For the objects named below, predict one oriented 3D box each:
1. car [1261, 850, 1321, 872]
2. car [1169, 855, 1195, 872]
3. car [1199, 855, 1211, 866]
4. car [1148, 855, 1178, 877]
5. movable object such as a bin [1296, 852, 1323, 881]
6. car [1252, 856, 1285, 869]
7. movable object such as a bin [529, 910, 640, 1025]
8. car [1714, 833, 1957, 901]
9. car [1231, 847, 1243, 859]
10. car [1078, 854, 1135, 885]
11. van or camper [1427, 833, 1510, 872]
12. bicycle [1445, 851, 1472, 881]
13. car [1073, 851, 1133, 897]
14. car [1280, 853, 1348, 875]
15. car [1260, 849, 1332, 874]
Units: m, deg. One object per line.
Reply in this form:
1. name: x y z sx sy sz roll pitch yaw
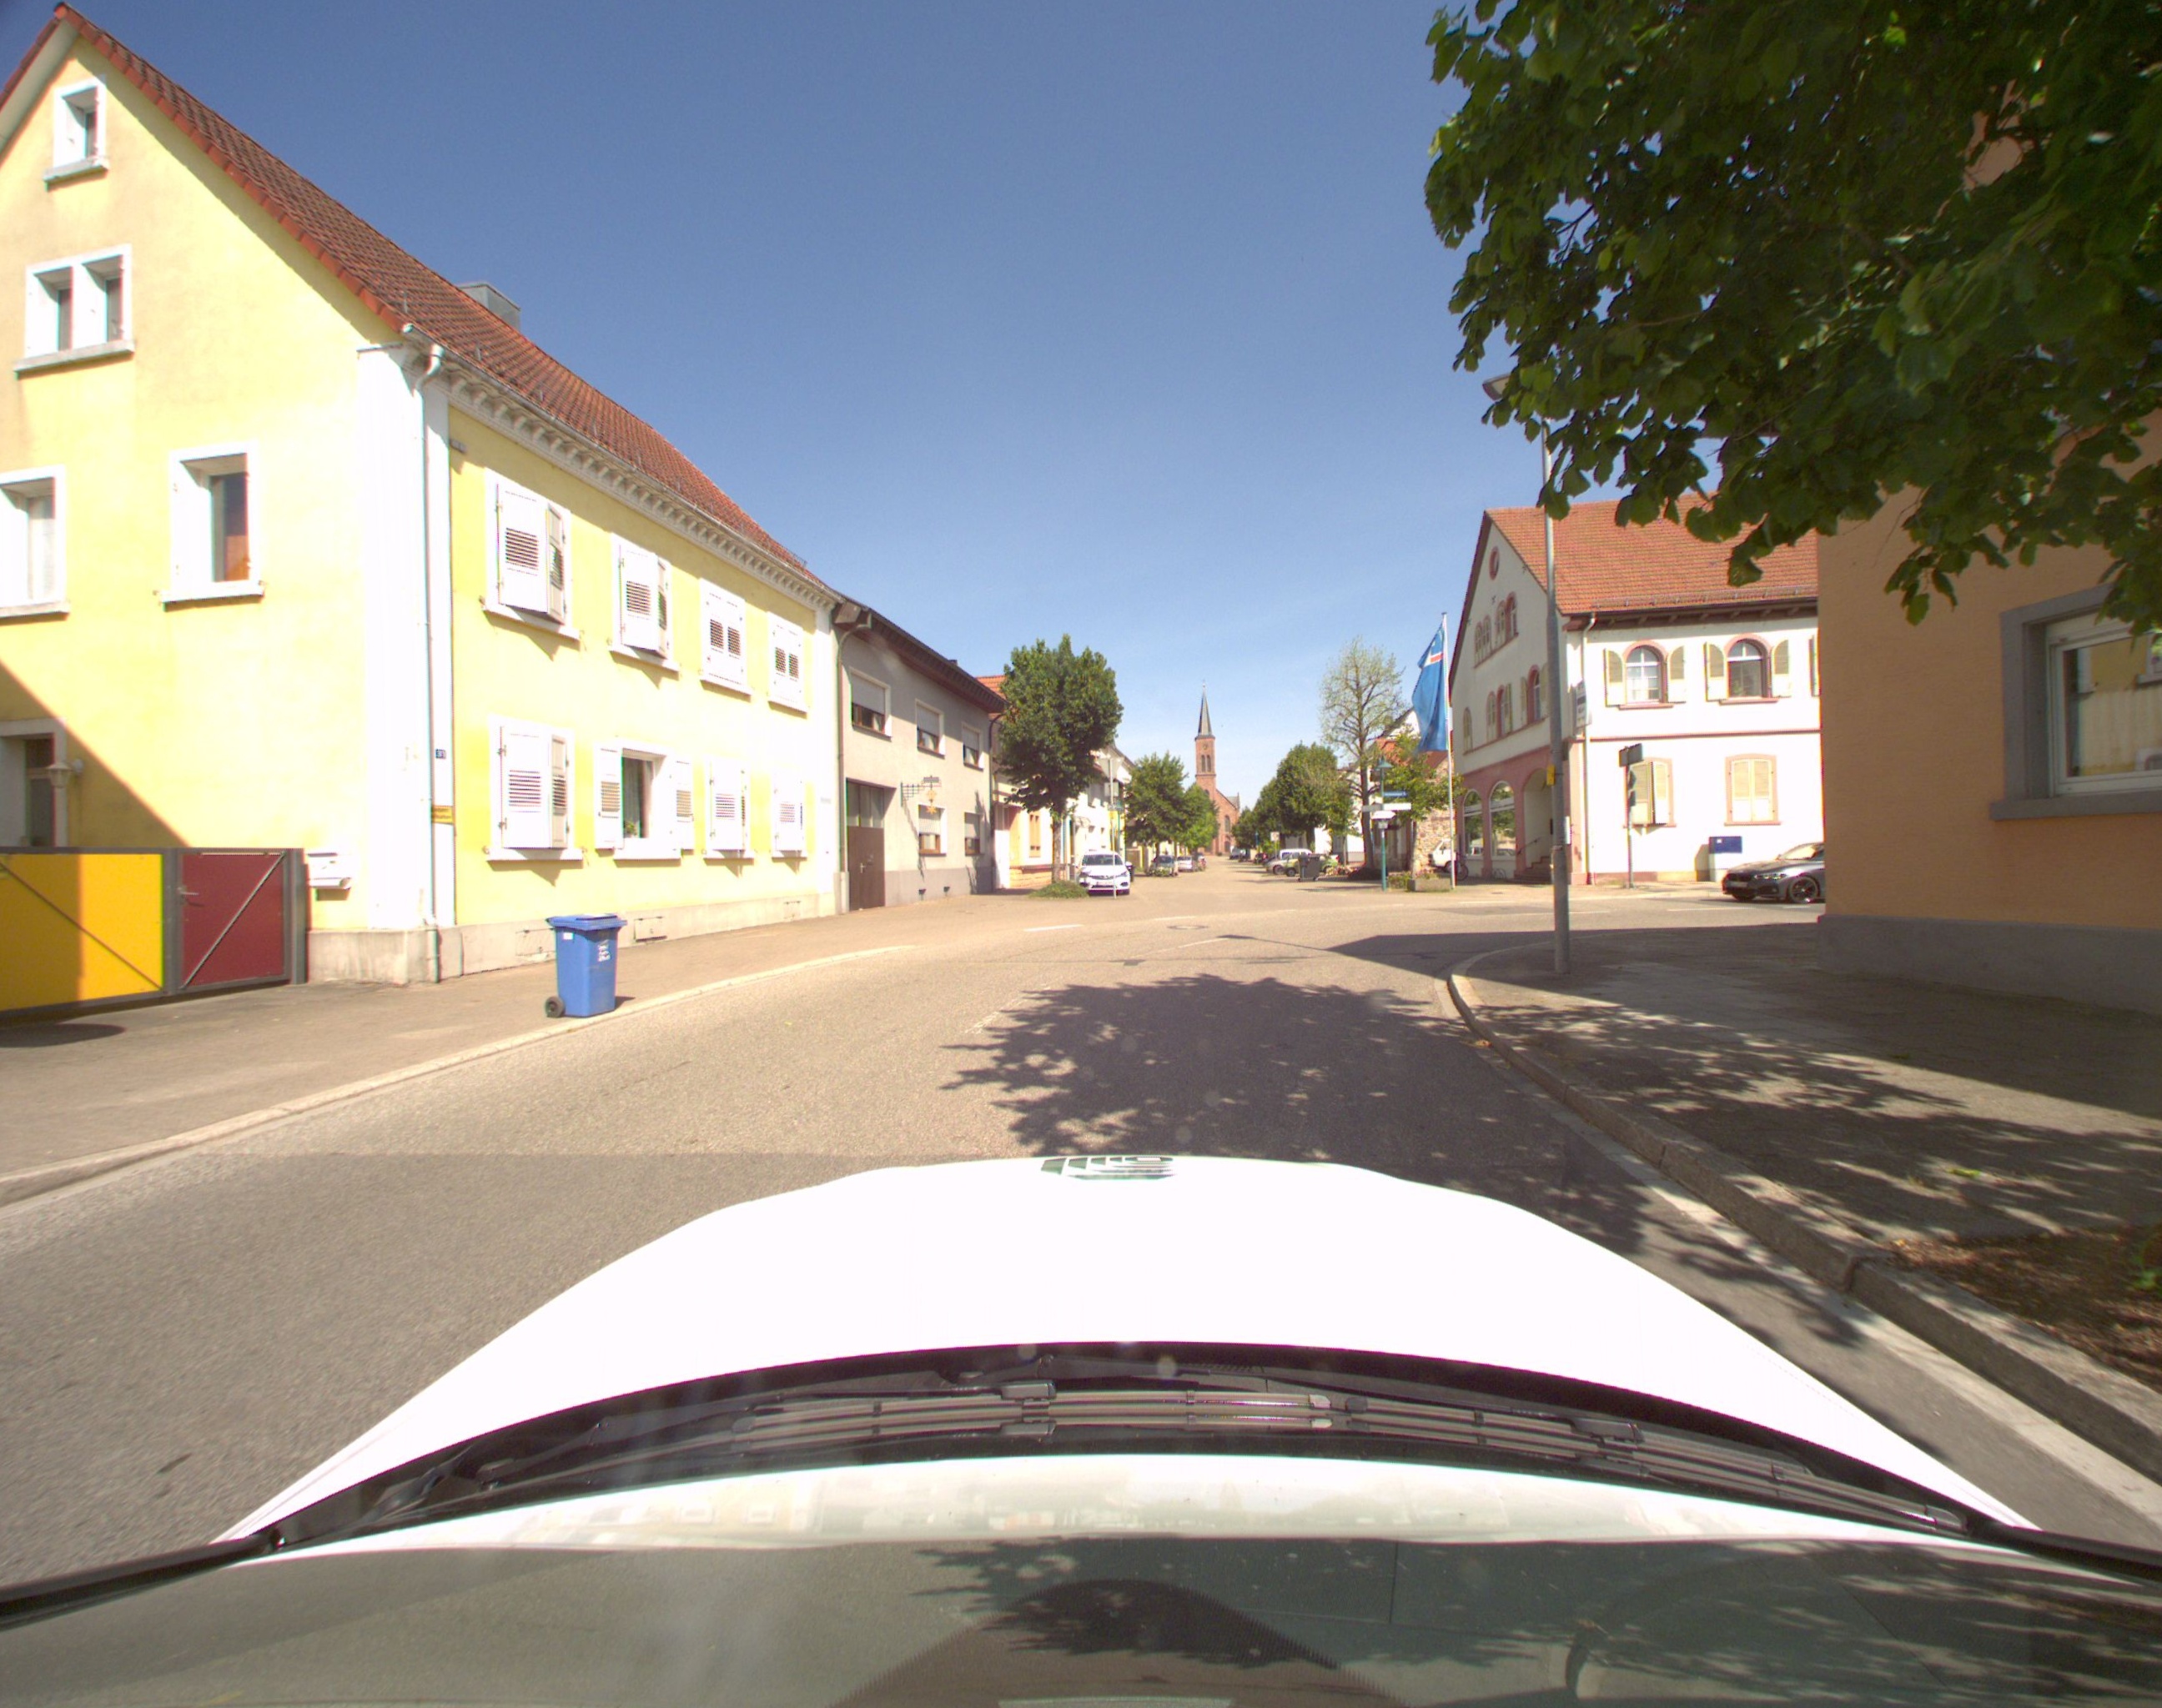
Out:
1. car: 15.574 0.495 60.511 4.125 1.568 2.005 -1 0 9
2. car: 8.841 0.806 71.416 1.985 1.464 4.004 -1 0 3
3. car: 21.519 1.150 141.367 1.983 1.816 4.007 -2 0 6
4. car: 6.129 0.864 60.799 1.982 1.574 4.010 -2 0 9
5. movable object such as a bin: 10.886 0.614 38.796 1.179 1.338 0.792 -2 0 13
6. car: 24.503 1.090 106.409 3.964 1.618 2.005 -2 0 8
7. movable object such as a bin: -4.638 1.046 7.639 0.640 0.980 0.614 -1 0 2
8. car: 17.189 0.279 18.650 4.249 1.376 1.738 -2 0 -7
9. car: 29.844 -0.124 155.968 2.231 2.279 4.515 0 -1 10
10. car: 1.373 0.744 41.449 1.971 1.440 5.228 -1 0 12
11. van or camper: 21.480 -0.077 45.323 3.954 2.013 2.010 -2 0 18
12. bicycle: 15.170 0.463 32.766 0.589 1.136 1.754 -2 0 13
13. car: 0.696 0.636 28.424 1.844 1.440 4.510 -1 0 -1
14. car: 14.623 0.625 51.223 3.900 1.344 2.005 -1 0 9
15. car: 15.160 0.542 57.743 4.774 1.623 2.005 -1 0 9
